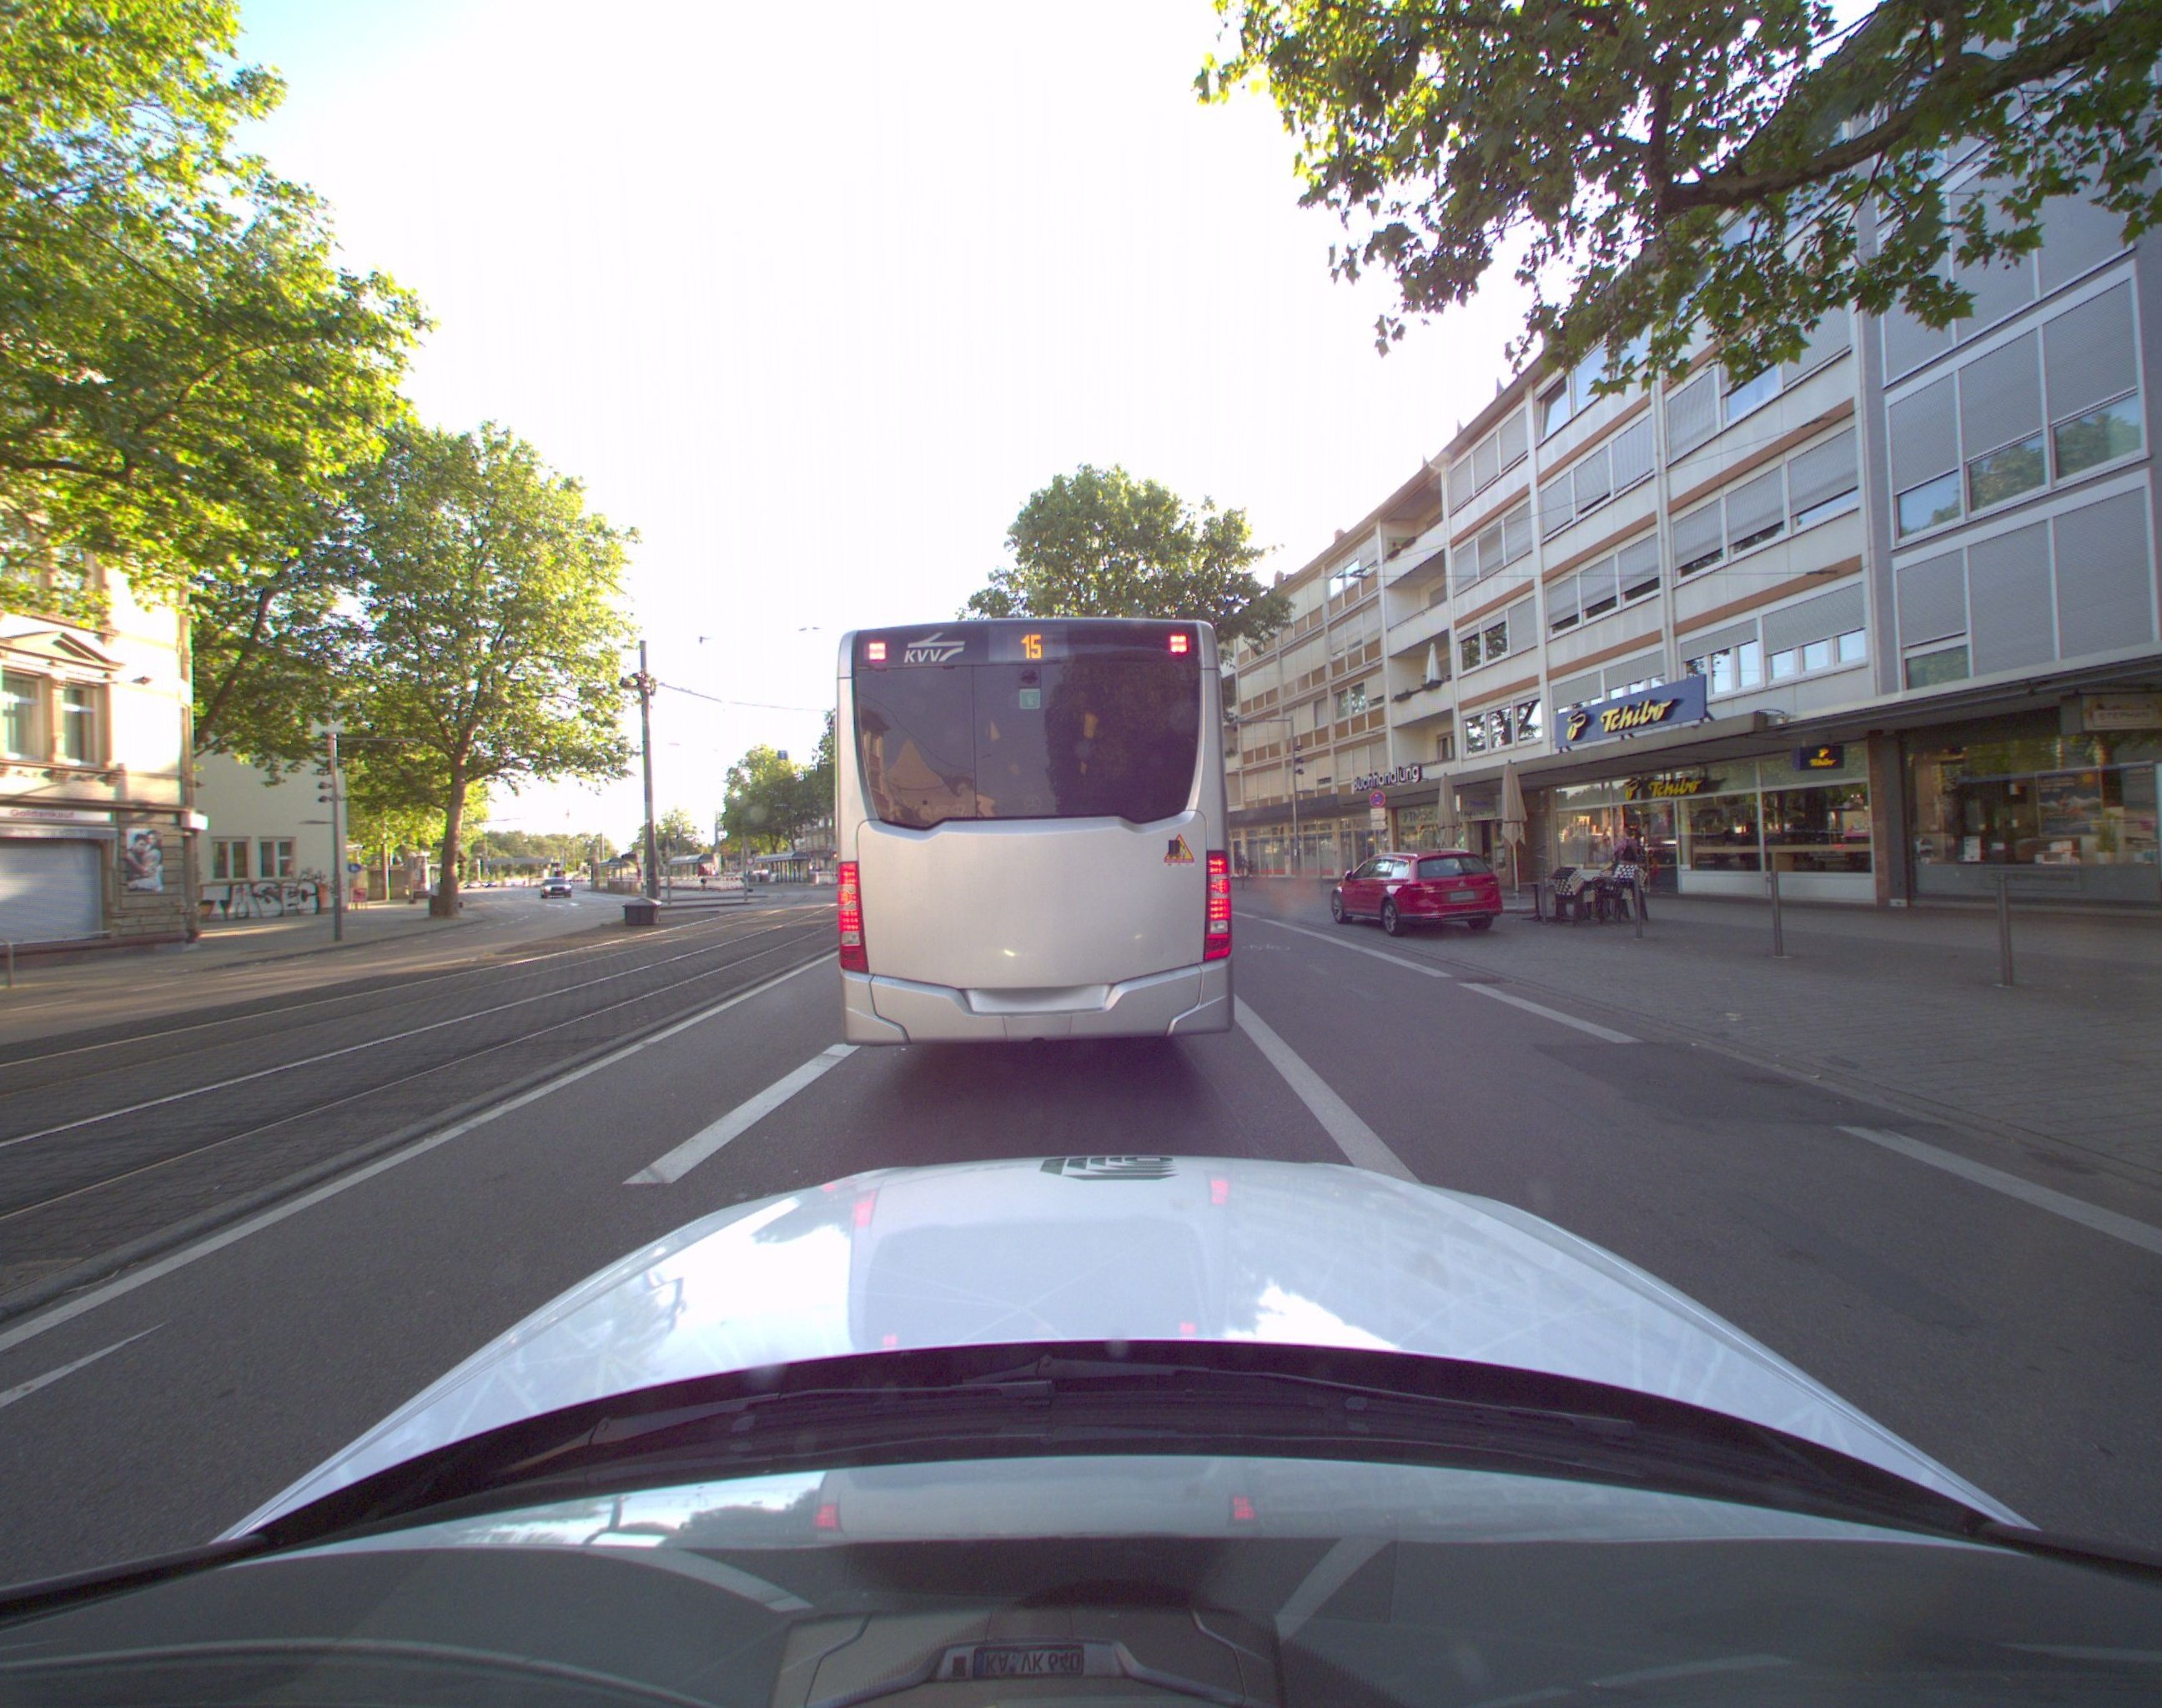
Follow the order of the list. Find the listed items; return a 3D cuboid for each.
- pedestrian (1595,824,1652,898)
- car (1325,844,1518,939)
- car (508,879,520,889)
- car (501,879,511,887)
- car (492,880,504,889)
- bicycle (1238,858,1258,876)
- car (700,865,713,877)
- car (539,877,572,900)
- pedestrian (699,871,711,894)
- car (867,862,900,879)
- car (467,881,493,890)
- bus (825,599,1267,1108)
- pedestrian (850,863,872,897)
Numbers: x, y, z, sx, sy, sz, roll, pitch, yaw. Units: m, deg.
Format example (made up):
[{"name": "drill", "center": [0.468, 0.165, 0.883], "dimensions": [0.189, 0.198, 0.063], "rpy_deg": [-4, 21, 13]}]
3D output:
[{"name": "pedestrian", "center": [12.296, 0.155, 18.476], "dimensions": [0.649, 1.592, 0.788], "rpy_deg": [-4, -1, -4]}, {"name": "car", "center": [6.374, 0.640, 15.838], "dimensions": [1.765, 1.482, 4.300], "rpy_deg": [-3, 0, -2]}, {"name": "car", "center": [-111.442, 5.915, 160.013], "dimensions": [1.858, 1.684, 3.677], "rpy_deg": [-4, 1, -35]}, {"name": "car", "center": [-130.087, 6.492, 184.192], "dimensions": [1.858, 1.684, 3.676], "rpy_deg": [-2, -1, -35]}, {"name": "car", "center": [-117.824, 6.104, 164.673], "dimensions": [1.858, 1.684, 3.676], "rpy_deg": [-2, -1, -35]}, {"name": "bicycle", "center": [9.315, 0.719, 45.516], "dimensions": [0.413, 0.945, 1.431], "rpy_deg": [-2, -1, -18]}, {"name": "car", "center": [-66.421, 2.950, 144.431], "dimensions": [1.629, 2.014, 3.080], "rpy_deg": [-2, -1, -32]}, {"name": "car", "center": [-40.053, 2.618, 62.069], "dimensions": [2.008, 1.640, 3.958], "rpy_deg": [-2, -1, -33]}, {"name": "pedestrian", "center": [-27.739, 2.113, 60.059], "dimensions": [0.661, 1.656, 0.438], "rpy_deg": [-2, -1, -41]}, {"name": "car", "center": [-21.625, 1.770, 88.967], "dimensions": [2.010, 1.792, 3.954], "rpy_deg": [0, -1, -39]}, {"name": "car", "center": [-122.663, 6.341, 166.137], "dimensions": [1.768, 1.640, 4.024], "rpy_deg": [-3, -1, 44]}, {"name": "bus", "center": [-0.198, 0.019, 9.918], "dimensions": [2.622, 3.028, 9.995], "rpy_deg": [-1, 0, 0]}, {"name": "pedestrian", "center": [-11.254, 1.324, 41.660], "dimensions": [0.893, 1.728, 0.518], "rpy_deg": [-2, -1, 3]}]
